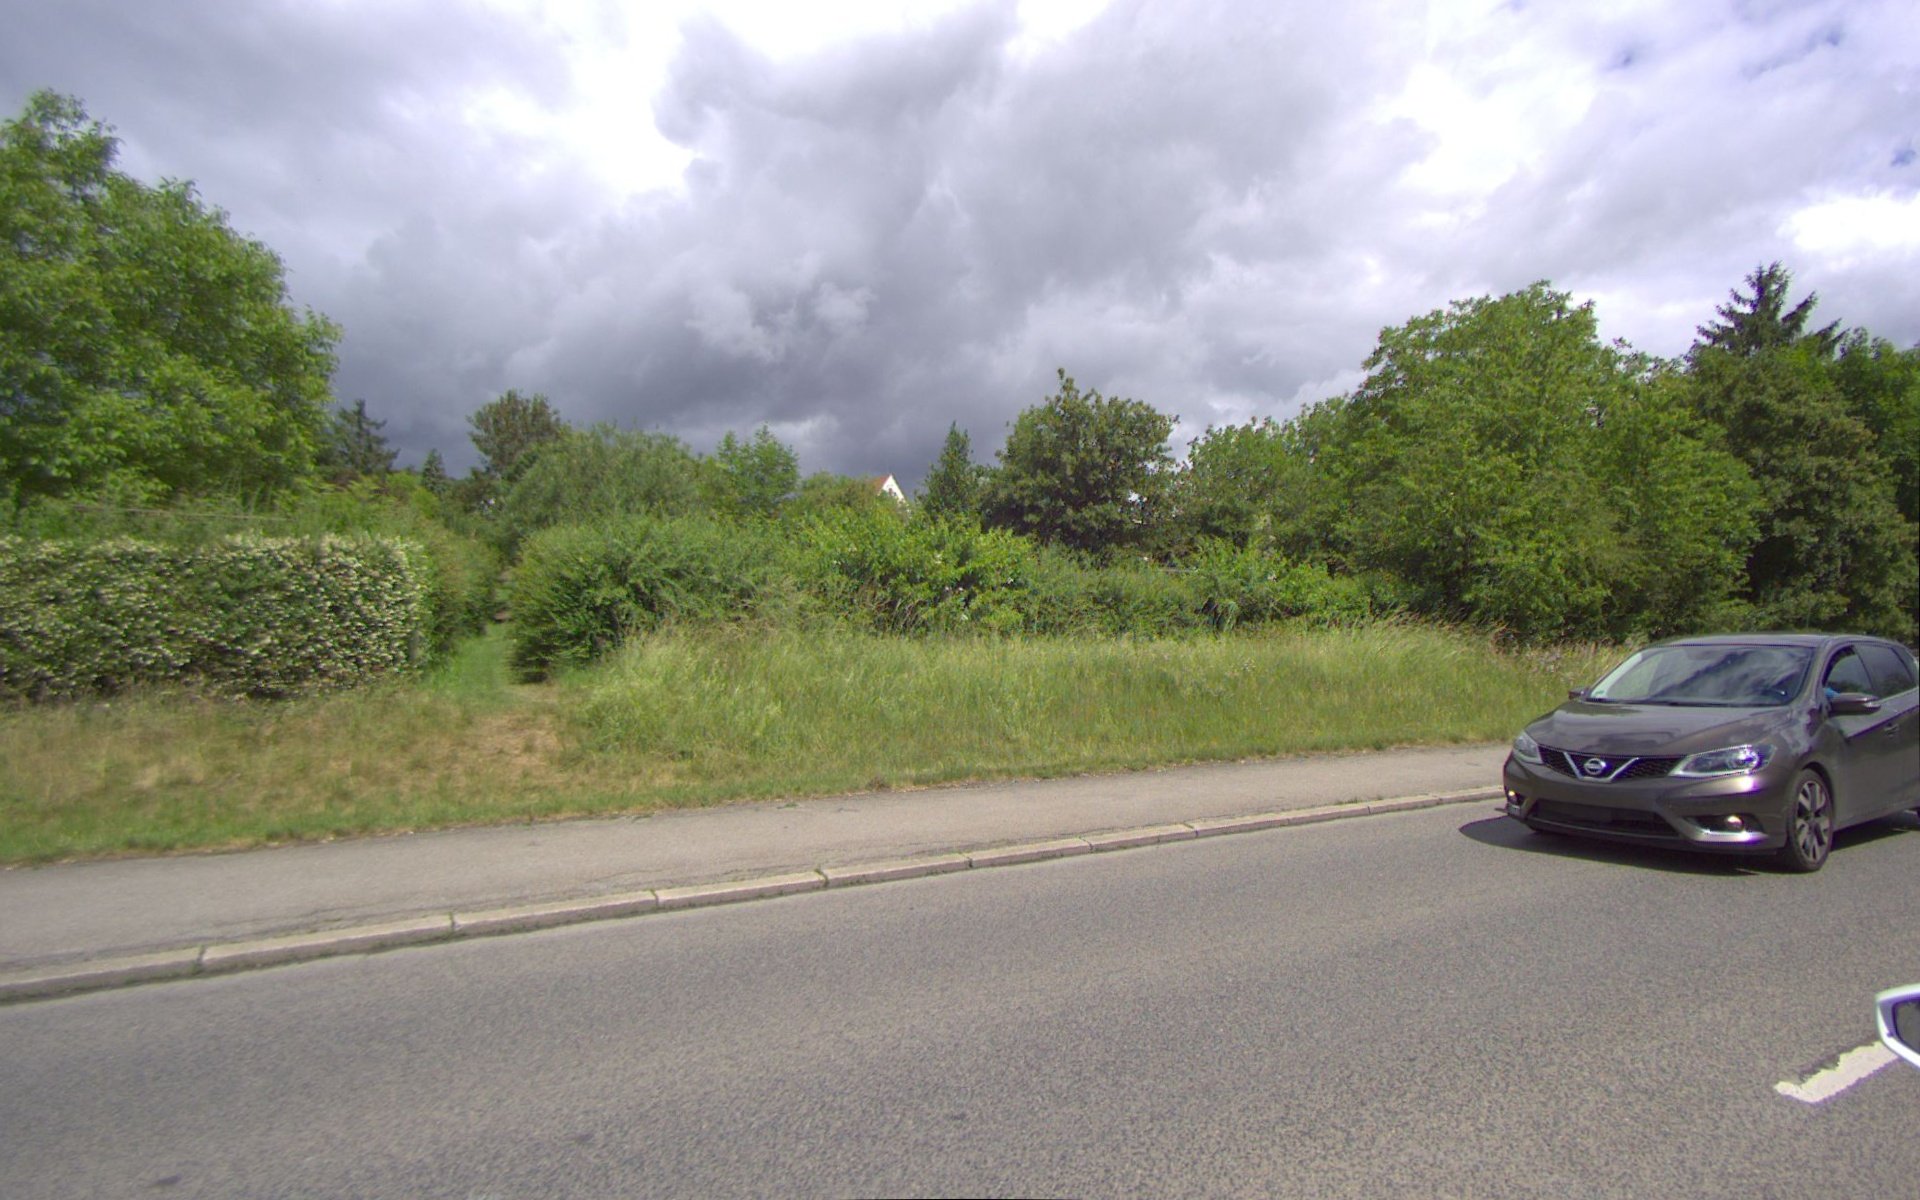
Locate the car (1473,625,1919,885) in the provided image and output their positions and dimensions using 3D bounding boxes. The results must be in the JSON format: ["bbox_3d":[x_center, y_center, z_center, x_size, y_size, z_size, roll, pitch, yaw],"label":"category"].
[{"bbox_3d":[5.855,0.977,7.559,3.955,1.490,1.708,1,-4,-31],"label":"car"}]
